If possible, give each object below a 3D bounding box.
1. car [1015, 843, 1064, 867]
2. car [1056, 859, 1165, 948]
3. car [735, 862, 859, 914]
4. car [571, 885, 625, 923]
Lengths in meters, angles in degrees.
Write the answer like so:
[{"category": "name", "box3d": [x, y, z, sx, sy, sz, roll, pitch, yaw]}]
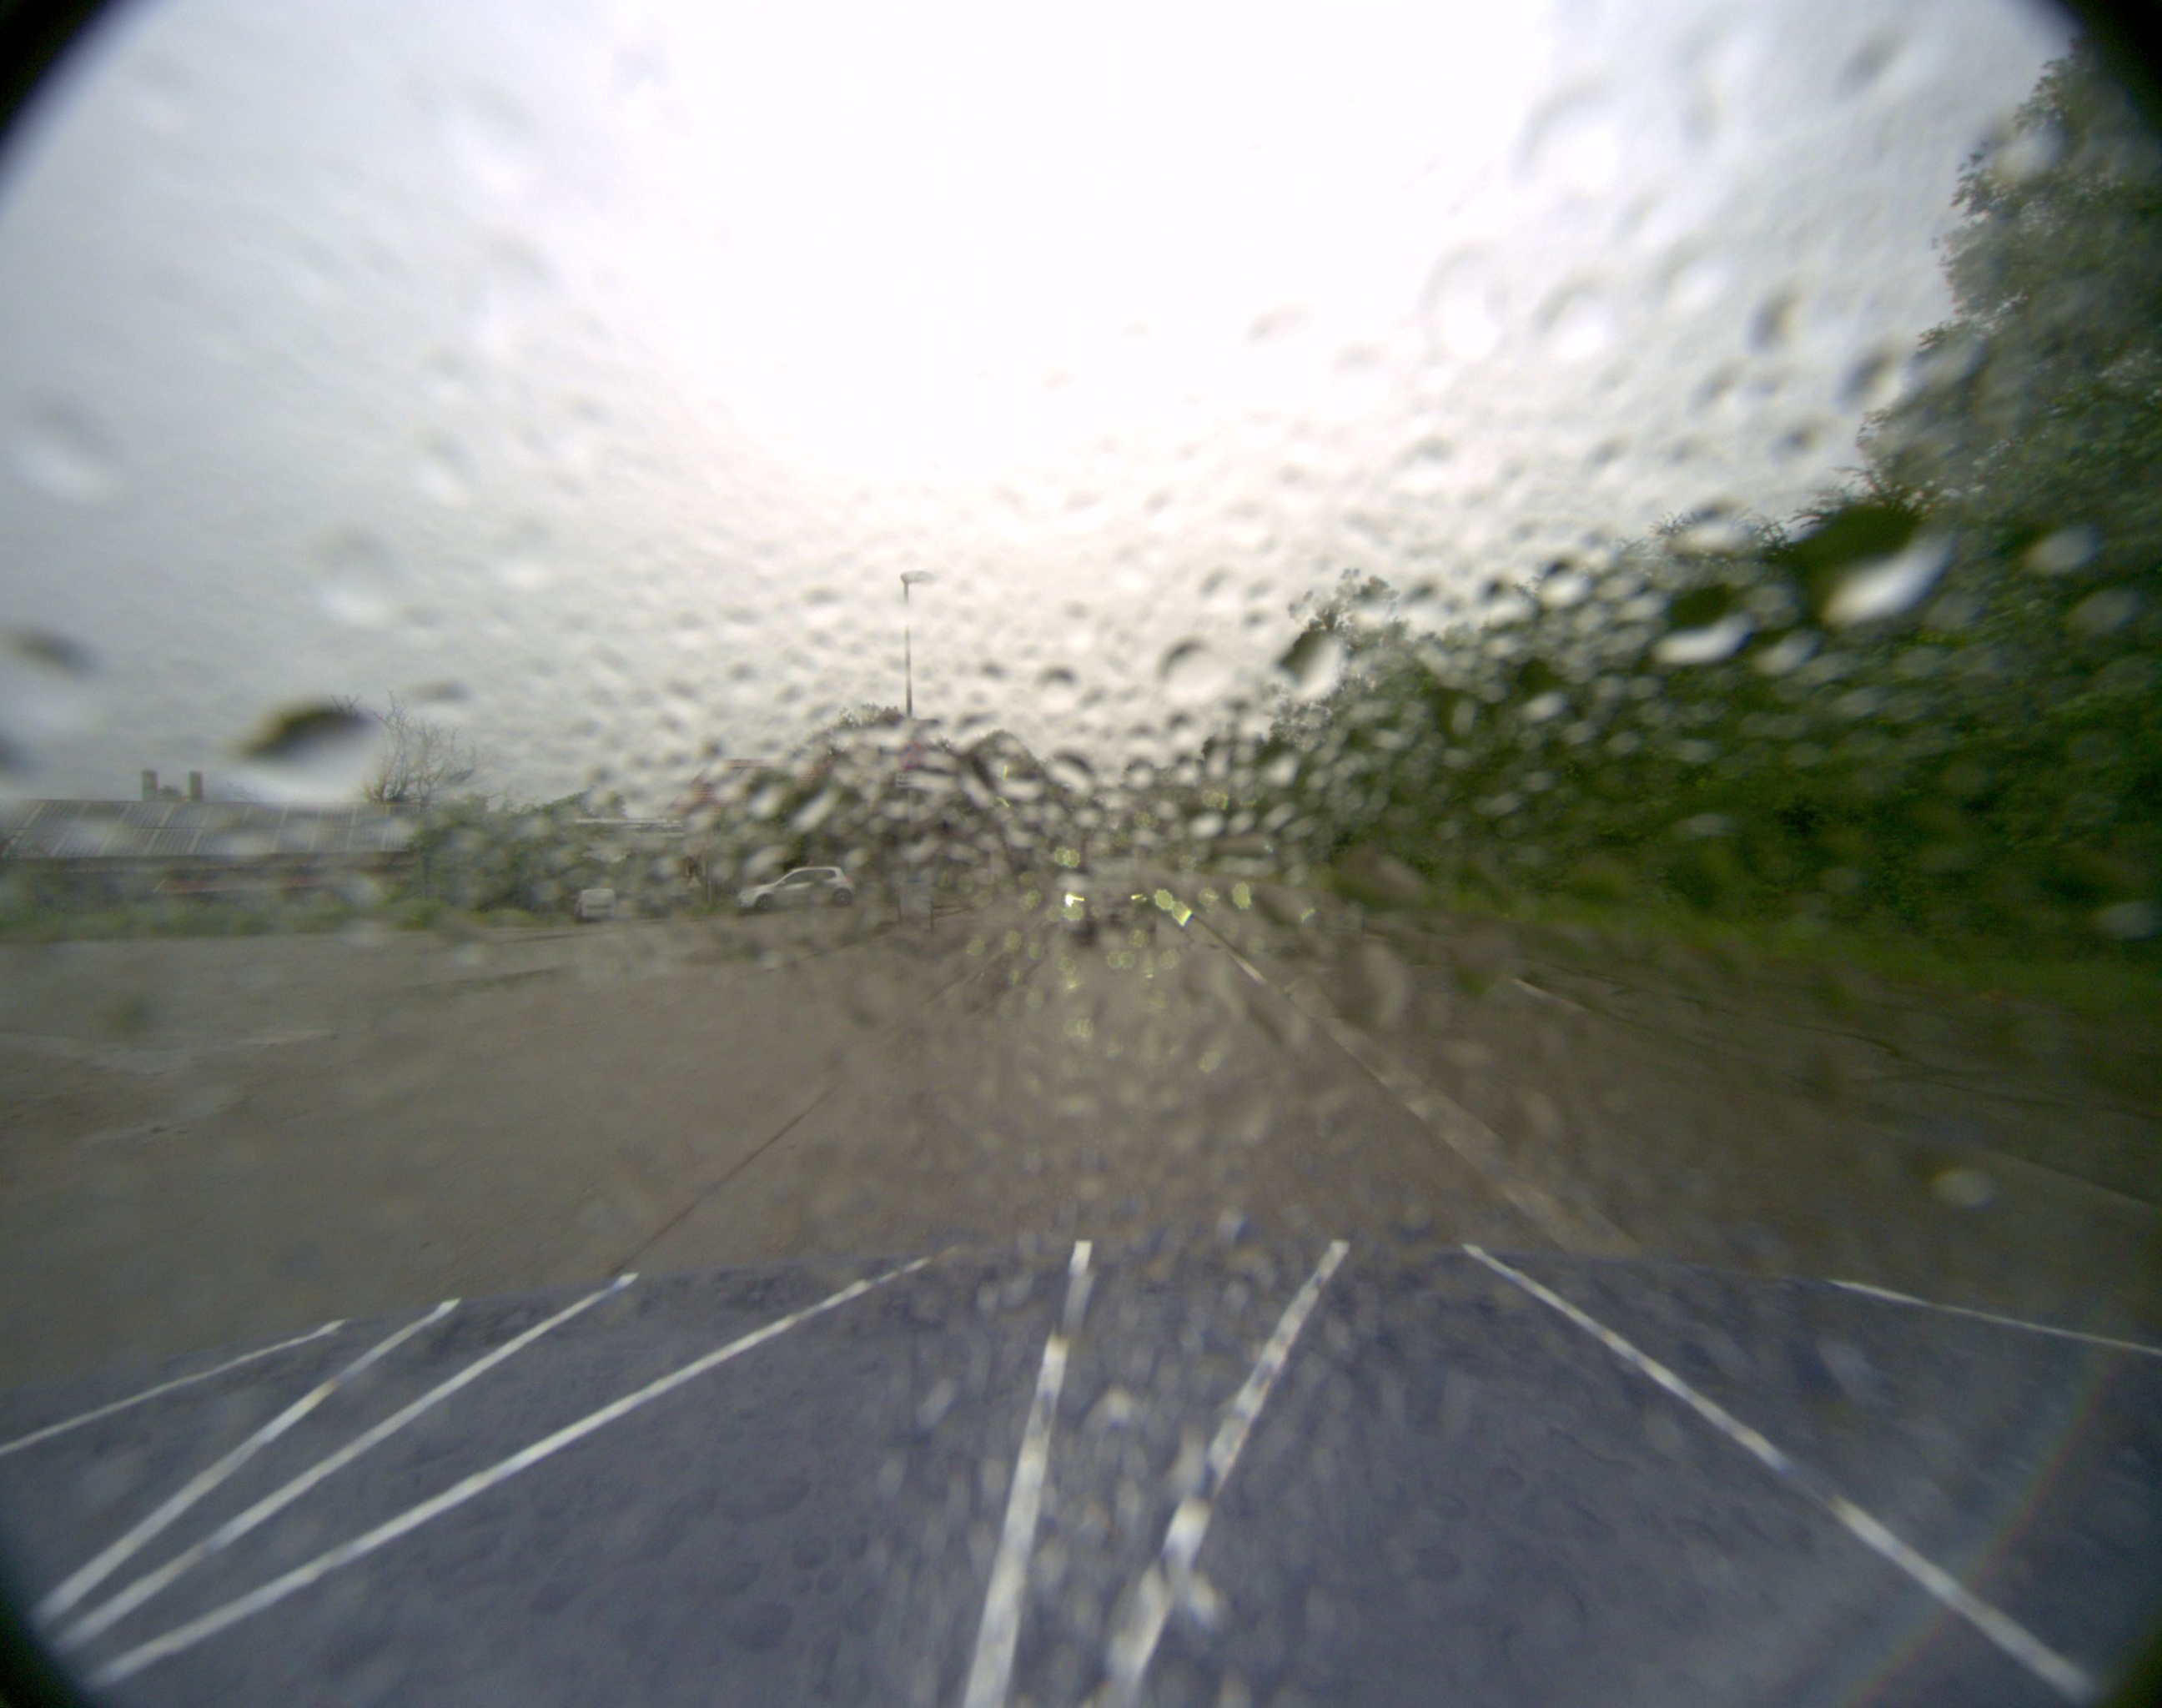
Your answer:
[{"category": "car", "box3d": [-3.522, 0.058, 64.350, 3.953, 1.853, 1.837, -3, 1, -3]}, {"category": "car", "box3d": [0.613, 0.859, 15.085, 1.766, 1.316, 4.549, -3, 1, 3]}, {"category": "car", "box3d": [-10.149, 1.155, 27.200, 3.862, 1.523, 1.715, -3, 1, -29]}, {"category": "car", "box3d": [-25.249, 2.579, 39.690, 1.937, 1.674, 3.989, -4, 1, -38]}]
